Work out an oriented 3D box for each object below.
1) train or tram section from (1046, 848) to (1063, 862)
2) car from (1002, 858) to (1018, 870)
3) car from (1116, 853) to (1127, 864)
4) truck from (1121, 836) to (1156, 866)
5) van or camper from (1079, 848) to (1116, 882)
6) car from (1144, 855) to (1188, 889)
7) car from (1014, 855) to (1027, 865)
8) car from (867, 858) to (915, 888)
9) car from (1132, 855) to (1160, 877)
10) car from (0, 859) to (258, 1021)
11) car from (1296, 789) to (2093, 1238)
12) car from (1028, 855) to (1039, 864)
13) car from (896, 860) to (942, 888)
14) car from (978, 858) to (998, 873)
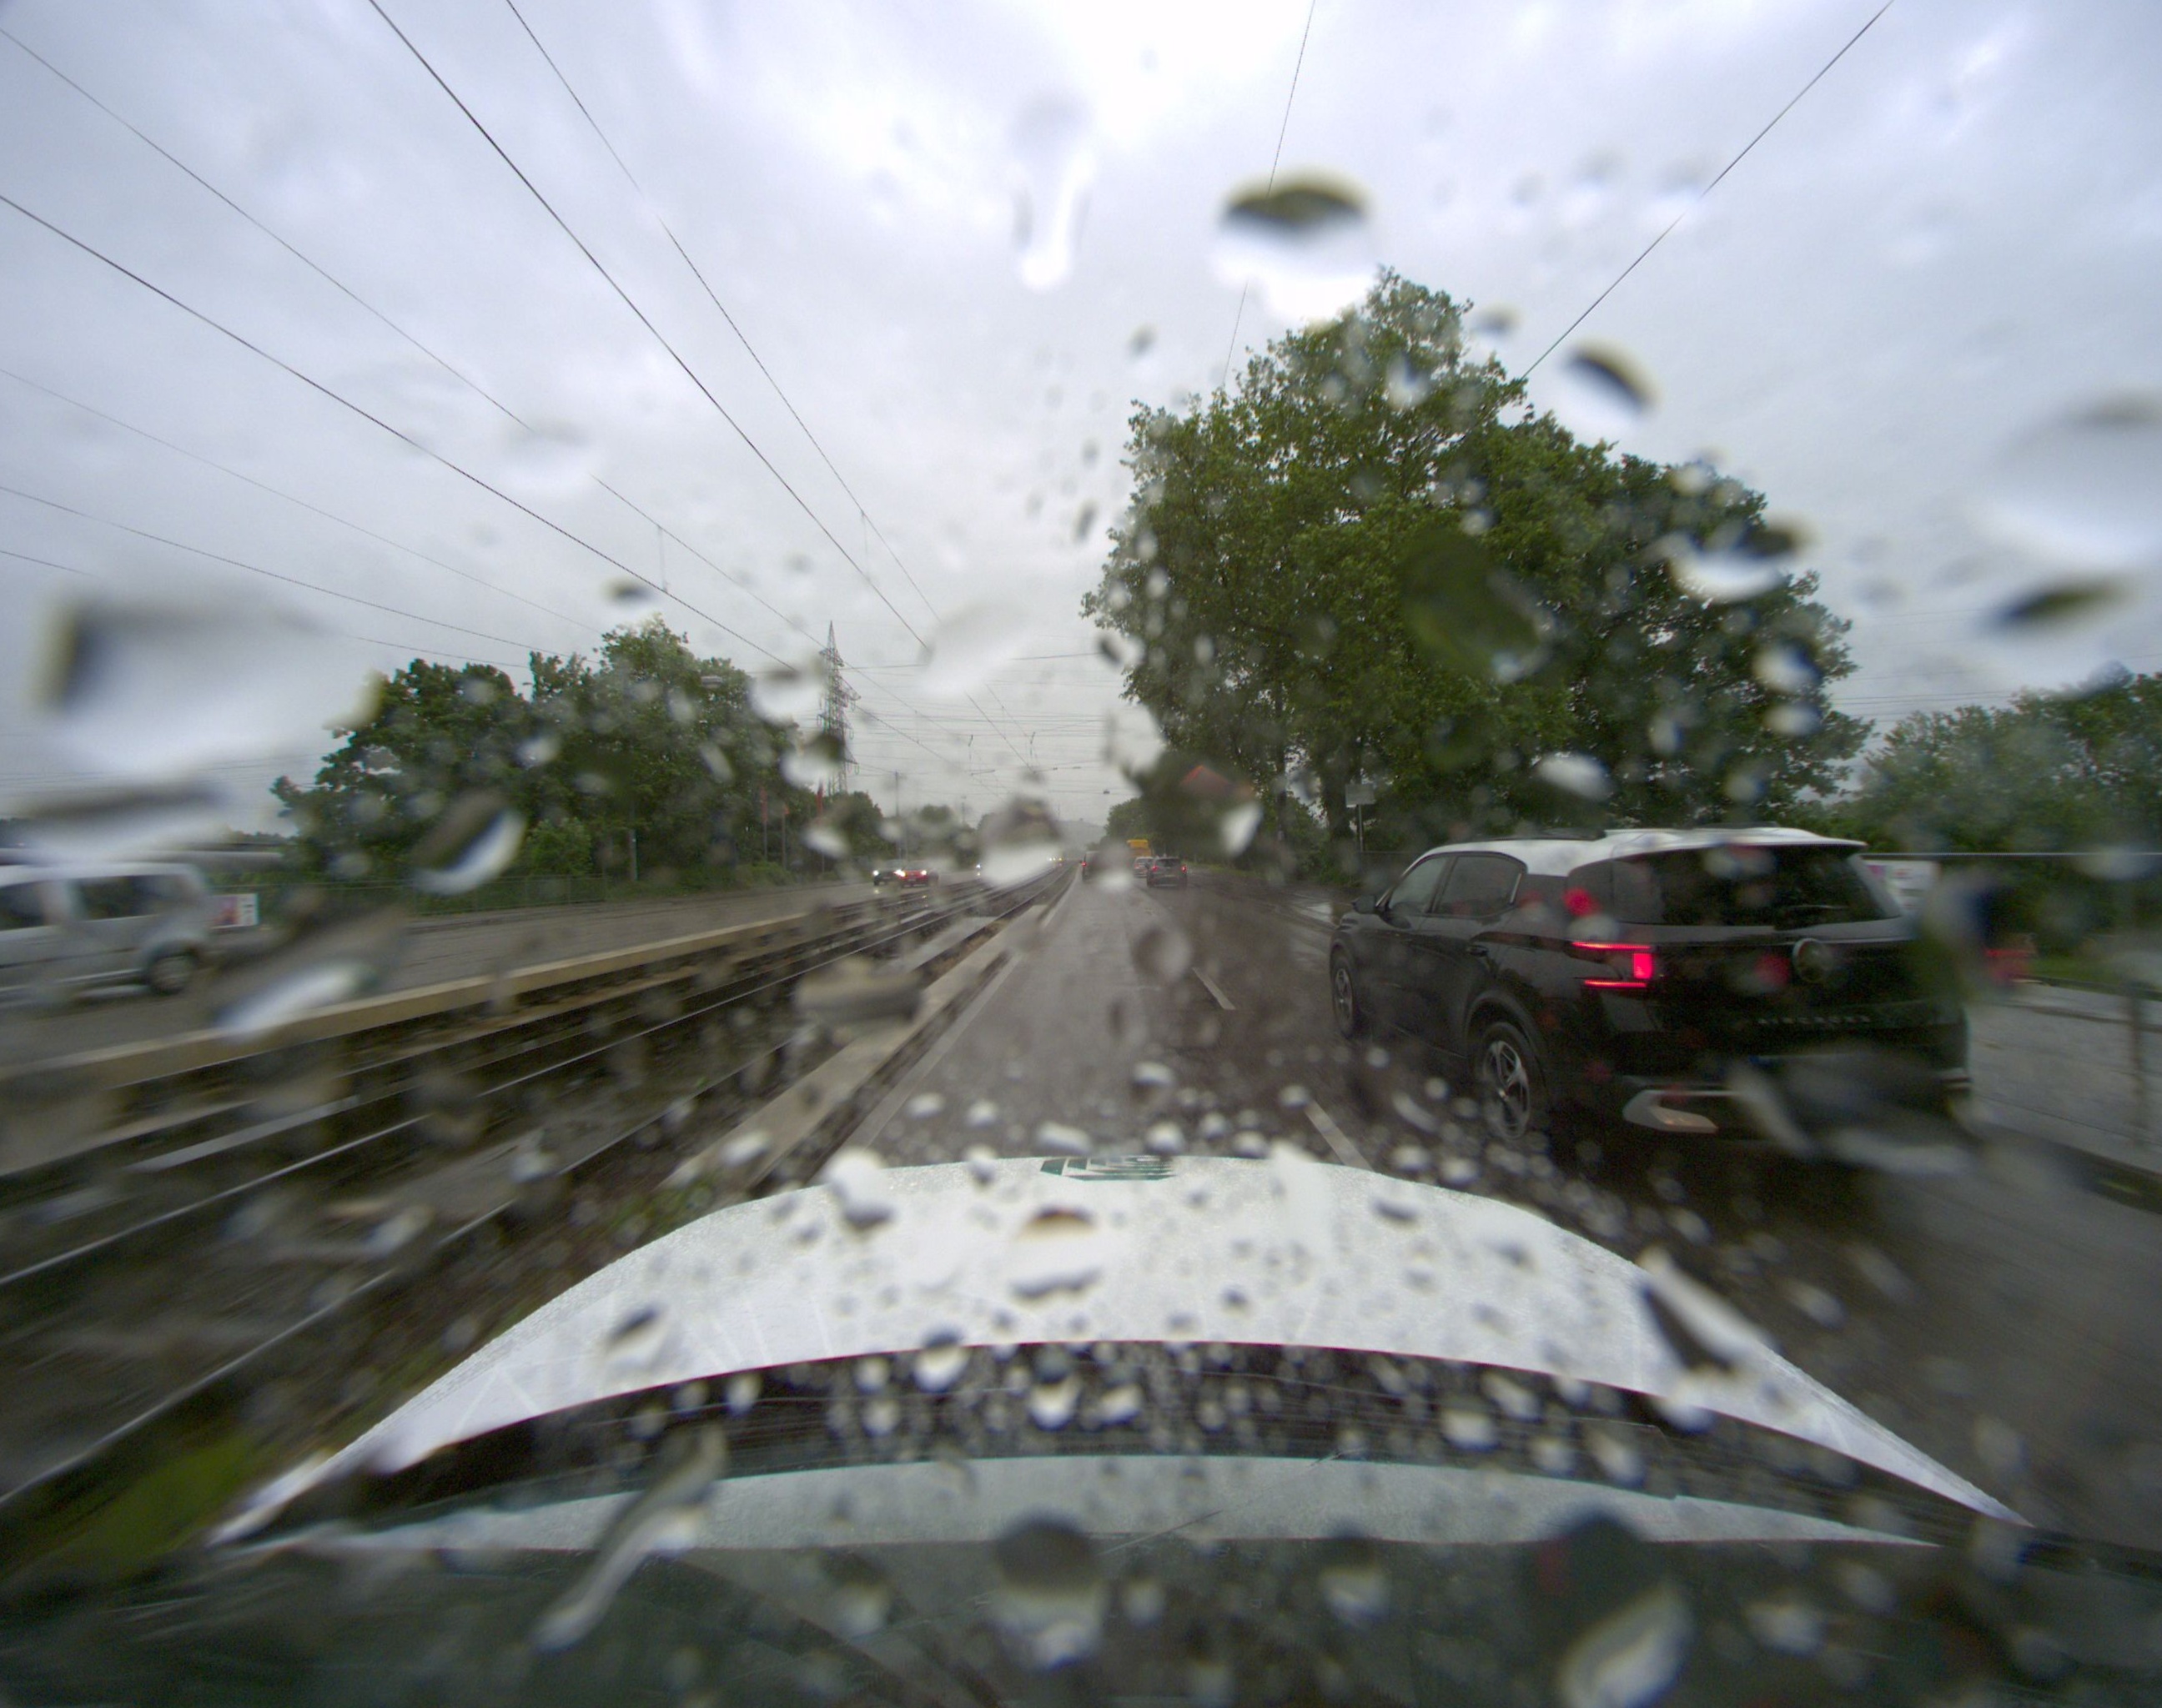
[{"bbox_3d":[-6.071,0.180,189.023,2.839,2.894,14.014,-2,0,2],"label":"train or tram section"},{"bbox_3d":[-11.806,1.590,135.887,1.985,1.903,4.003,0,0,3],"label":"car"},{"bbox_3d":[7.640,0.796,152.243,1.985,1.903,4.003,0,0,3],"label":"car"},{"bbox_3d":[5.572,-0.299,80.242,3.101,2.773,6.331,-1,0,1],"label":"truck"},{"bbox_3d":[0.903,0.601,47.049,1.988,1.784,3.999,0,1,-1],"label":"van or camper"},{"bbox_3d":[3.872,0.801,37.636,1.811,1.414,3.781,0,1,2],"label":"car"},{"bbox_3d":[-11.635,1.189,157.382,1.985,1.903,4.003,0,0,3],"label":"car"},{"bbox_3d":[-12.455,1.203,53.728,1.985,1.816,4.003,-2,0,3],"label":"car"},{"bbox_3d":[4.580,0.846,57.941,1.811,1.414,3.781,0,1,2],"label":"car"},{"bbox_3d":[-13.235,1.013,9.714,1.986,1.816,4.660,-2,0,1],"label":"car"},{"bbox_3d":[2.979,0.578,5.491,1.893,1.716,4.727,0,1,1],"label":"car"},{"bbox_3d":[-10.393,1.279,179.189,1.985,1.903,4.003,0,0,3],"label":"car"},{"bbox_3d":[-9.333,1.124,47.131,1.650,1.486,4.016,-2,0,3],"label":"car"},{"bbox_3d":[-12.171,1.477,106.964,1.985,1.903,4.003,0,0,3],"label":"car"}]
